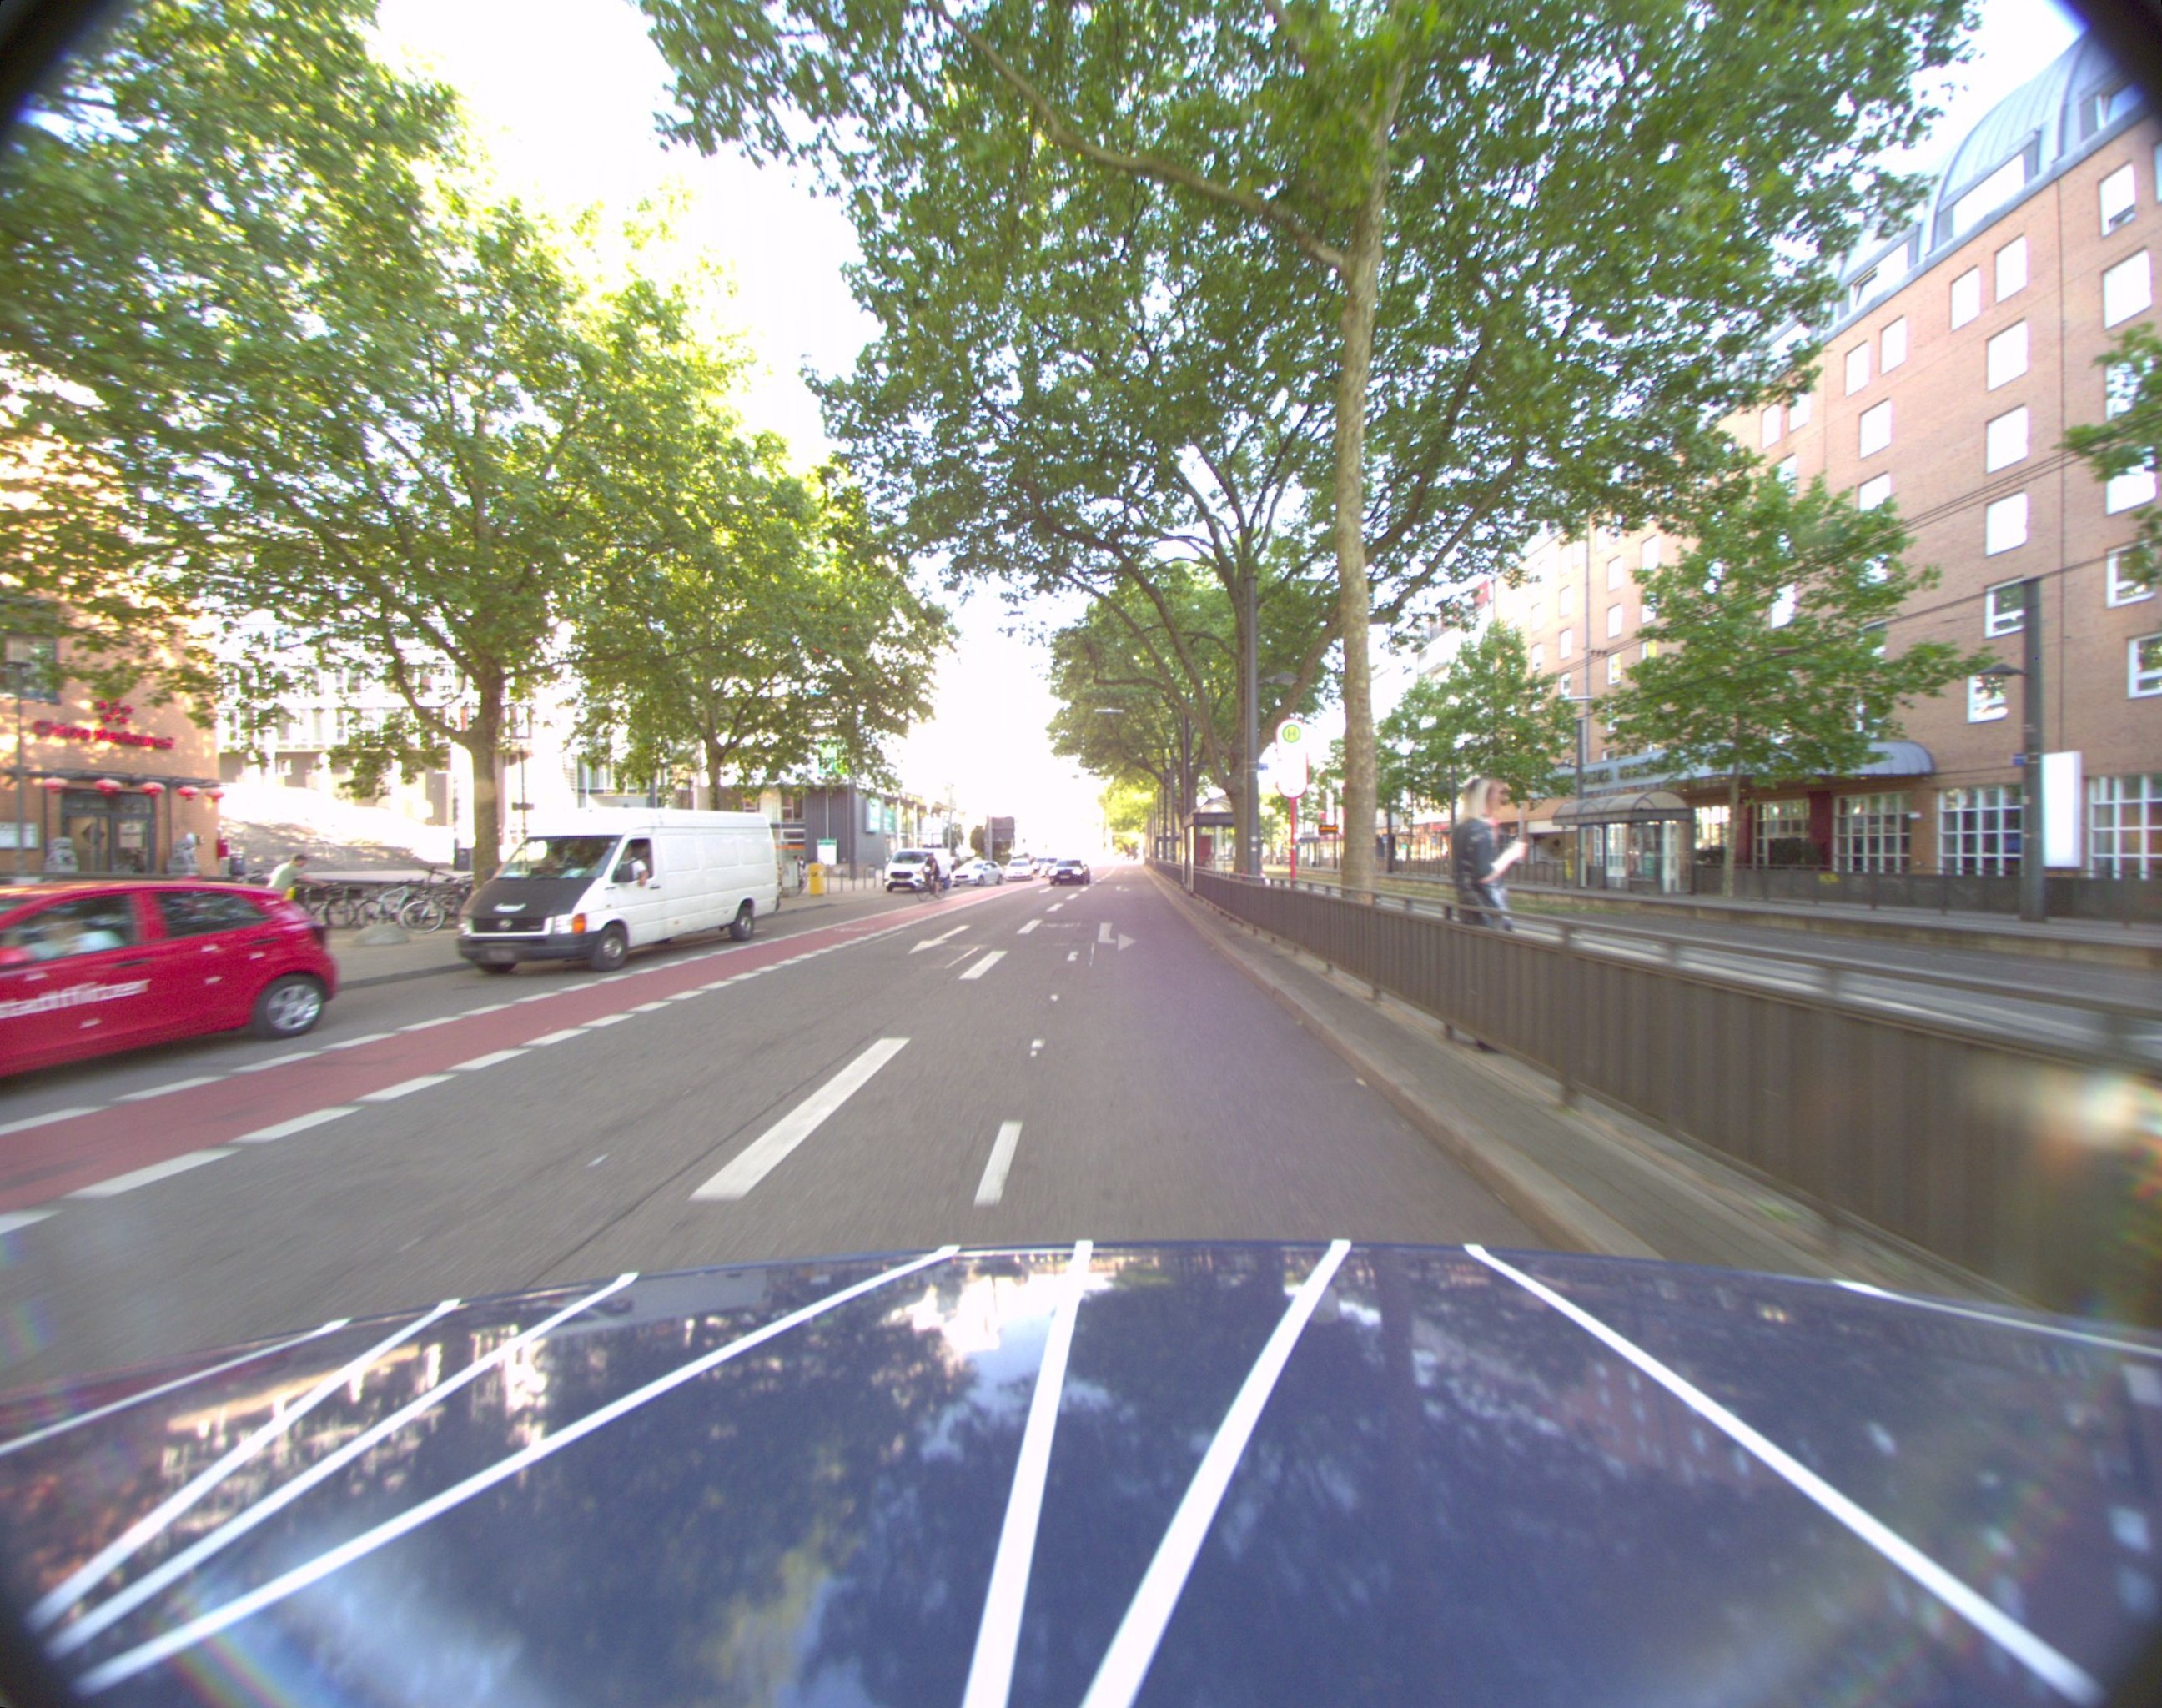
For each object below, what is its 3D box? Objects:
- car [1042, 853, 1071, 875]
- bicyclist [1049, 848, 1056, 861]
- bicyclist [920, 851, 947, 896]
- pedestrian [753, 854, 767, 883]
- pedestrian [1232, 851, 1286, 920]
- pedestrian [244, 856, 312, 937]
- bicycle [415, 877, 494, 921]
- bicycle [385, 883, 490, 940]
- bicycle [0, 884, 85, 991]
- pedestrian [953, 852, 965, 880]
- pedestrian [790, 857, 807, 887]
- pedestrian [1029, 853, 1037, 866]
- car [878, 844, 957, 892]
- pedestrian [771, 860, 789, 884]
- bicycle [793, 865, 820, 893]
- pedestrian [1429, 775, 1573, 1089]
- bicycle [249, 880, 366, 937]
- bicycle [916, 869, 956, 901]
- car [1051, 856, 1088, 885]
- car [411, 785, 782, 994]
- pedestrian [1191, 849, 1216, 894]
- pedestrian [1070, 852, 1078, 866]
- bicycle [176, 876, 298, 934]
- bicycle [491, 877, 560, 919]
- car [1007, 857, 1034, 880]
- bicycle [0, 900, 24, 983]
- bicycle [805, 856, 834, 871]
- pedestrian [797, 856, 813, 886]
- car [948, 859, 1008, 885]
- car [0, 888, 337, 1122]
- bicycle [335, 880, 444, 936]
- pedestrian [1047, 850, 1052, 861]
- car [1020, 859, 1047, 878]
[{"bbox_3d":[-1.830,0.767,58.354,1.785,1.628,4.023,0,0,4],"label":"car"},{"bbox_3d":[-3.732,0.046,100.438,0.743,1.752,1.209,3,1,4],"label":"bicyclist"},{"bbox_3d":[-5.559,0.722,28.613,0.751,1.678,0.715,0,1,19],"label":"bicyclist"},{"bbox_3d":[-18.758,0.832,44.383,0.540,1.666,0.722,0,1,-5],"label":"pedestrian"},{"bbox_3d":[3.704,0.649,15.872,0.979,1.392,0.664,-2,1,6],"label":"pedestrian"},{"bbox_3d":[-16.520,0.851,15.641,0.718,1.622,0.636,0,1,7],"label":"pedestrian"},{"bbox_3d":[-16.267,1.144,19.782,0.597,1.041,1.655,0,0,4],"label":"bicycle"},{"bbox_3d":[-13.198,1.158,15.651,0.596,1.041,1.656,0,0,9],"label":"bicycle"},{"bbox_3d":[-13.268,1.020,8.944,0.597,1.257,1.876,0,0,1],"label":"bicycle"},{"bbox_3d":[-7.704,0.750,47.973,0.564,1.798,0.891,1,1,4],"label":"pedestrian"},{"bbox_3d":[-14.477,0.911,38.911,0.577,1.534,0.638,0,1,10],"label":"pedestrian"},{"bbox_3d":[-5.443,0.627,87.022,0.753,1.565,0.912,0,1,6],"label":"pedestrian"},{"bbox_3d":[-7.743,0.624,36.509,2.127,2.122,5.292,0,0,6],"label":"car"},{"bbox_3d":[-15.633,0.947,39.425,0.615,1.214,0.678,0,1,7],"label":"pedestrian"},{"bbox_3d":[-11.593,1.039,32.145,0.514,1.151,1.539,0,0,3],"label":"bicycle"},{"bbox_3d":[2.711,0.472,4.966,0.511,1.889,0.760,-2,1,2],"label":"pedestrian"},{"bbox_3d":[-15.912,1.089,15.688,0.596,1.041,1.656,0,0,7],"label":"bicycle"},{"bbox_3d":[-5.436,1.139,28.635,0.550,1.114,2.129,0,0,17],"label":"bicycle"},{"bbox_3d":[-0.577,0.863,42.018,1.827,1.416,4.346,-2,0,2],"label":"car"},{"bbox_3d":[-7.680,0.458,13.302,1.998,2.708,6.562,-2,0,2],"label":"car"},{"bbox_3d":[3.871,0.545,24.045,0.735,1.379,0.640,-2,1,6],"label":"pedestrian"},{"bbox_3d":[-0.587,0.452,67.597,0.665,1.218,0.775,0,1,4],"label":"pedestrian"},{"bbox_3d":[-17.846,1.045,16.123,0.596,1.119,1.656,0,0,9],"label":"bicycle"},{"bbox_3d":[-15.180,1.182,20.818,0.597,1.041,1.655,0,0,4],"label":"bicycle"},{"bbox_3d":[-4.233,0.982,52.948,1.672,1.455,3.866,0,0,-8],"label":"car"},{"bbox_3d":[-13.924,1.113,8.956,0.597,1.026,1.655,0,0,1],"label":"bicycle"},{"bbox_3d":[-18.729,0.702,54.455,1.879,1.057,0.700,1,1,2],"label":"bicycle"},{"bbox_3d":[-14.422,0.888,39.672,0.516,1.514,0.636,0,1,10],"label":"pedestrian"},{"bbox_3d":[-5.927,1.012,44.152,1.783,1.411,4.027,0,0,19],"label":"car"},{"bbox_3d":[-8.016,1.076,5.543,1.562,1.455,3.621,-1,0,1],"label":"car"},{"bbox_3d":[-14.404,1.106,15.888,0.596,1.041,1.656,0,0,9],"label":"bicycle"},{"bbox_3d":[-4.520,0.267,108.966,0.692,1.573,0.664,2,1,5],"label":"pedestrian"},{"bbox_3d":[-4.308,1.298,69.875,1.998,1.586,4.001,0,0,3],"label":"car"}]
